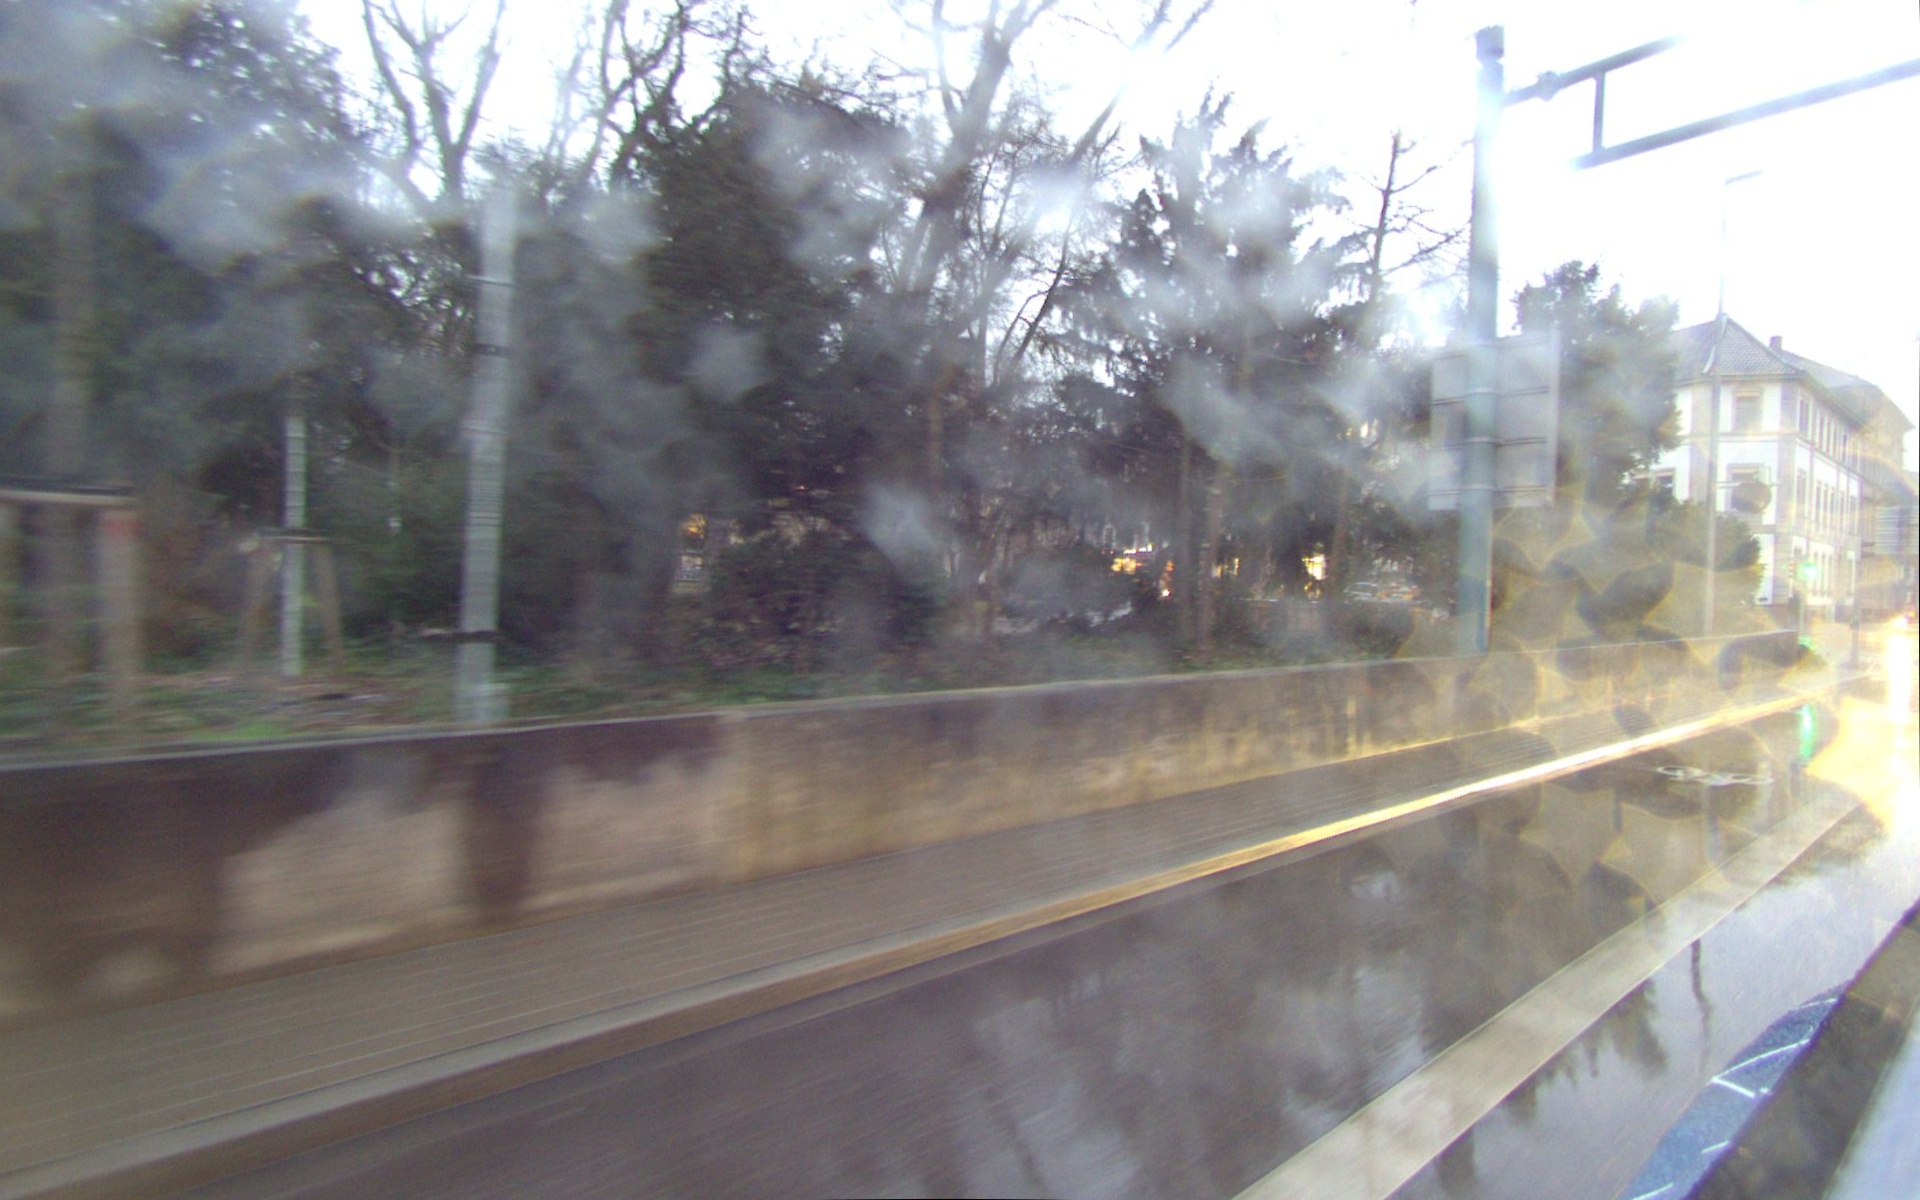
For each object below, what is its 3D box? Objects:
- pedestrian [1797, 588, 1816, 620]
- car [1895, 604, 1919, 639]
[{"bbox_3d":[40.014,0.189,47.861,0.577,1.529,0.521,1,1,-36],"label":"pedestrian"},{"bbox_3d":[42.392,0.954,42.693,3.929,1.429,1.875,1,1,5],"label":"car"}]
